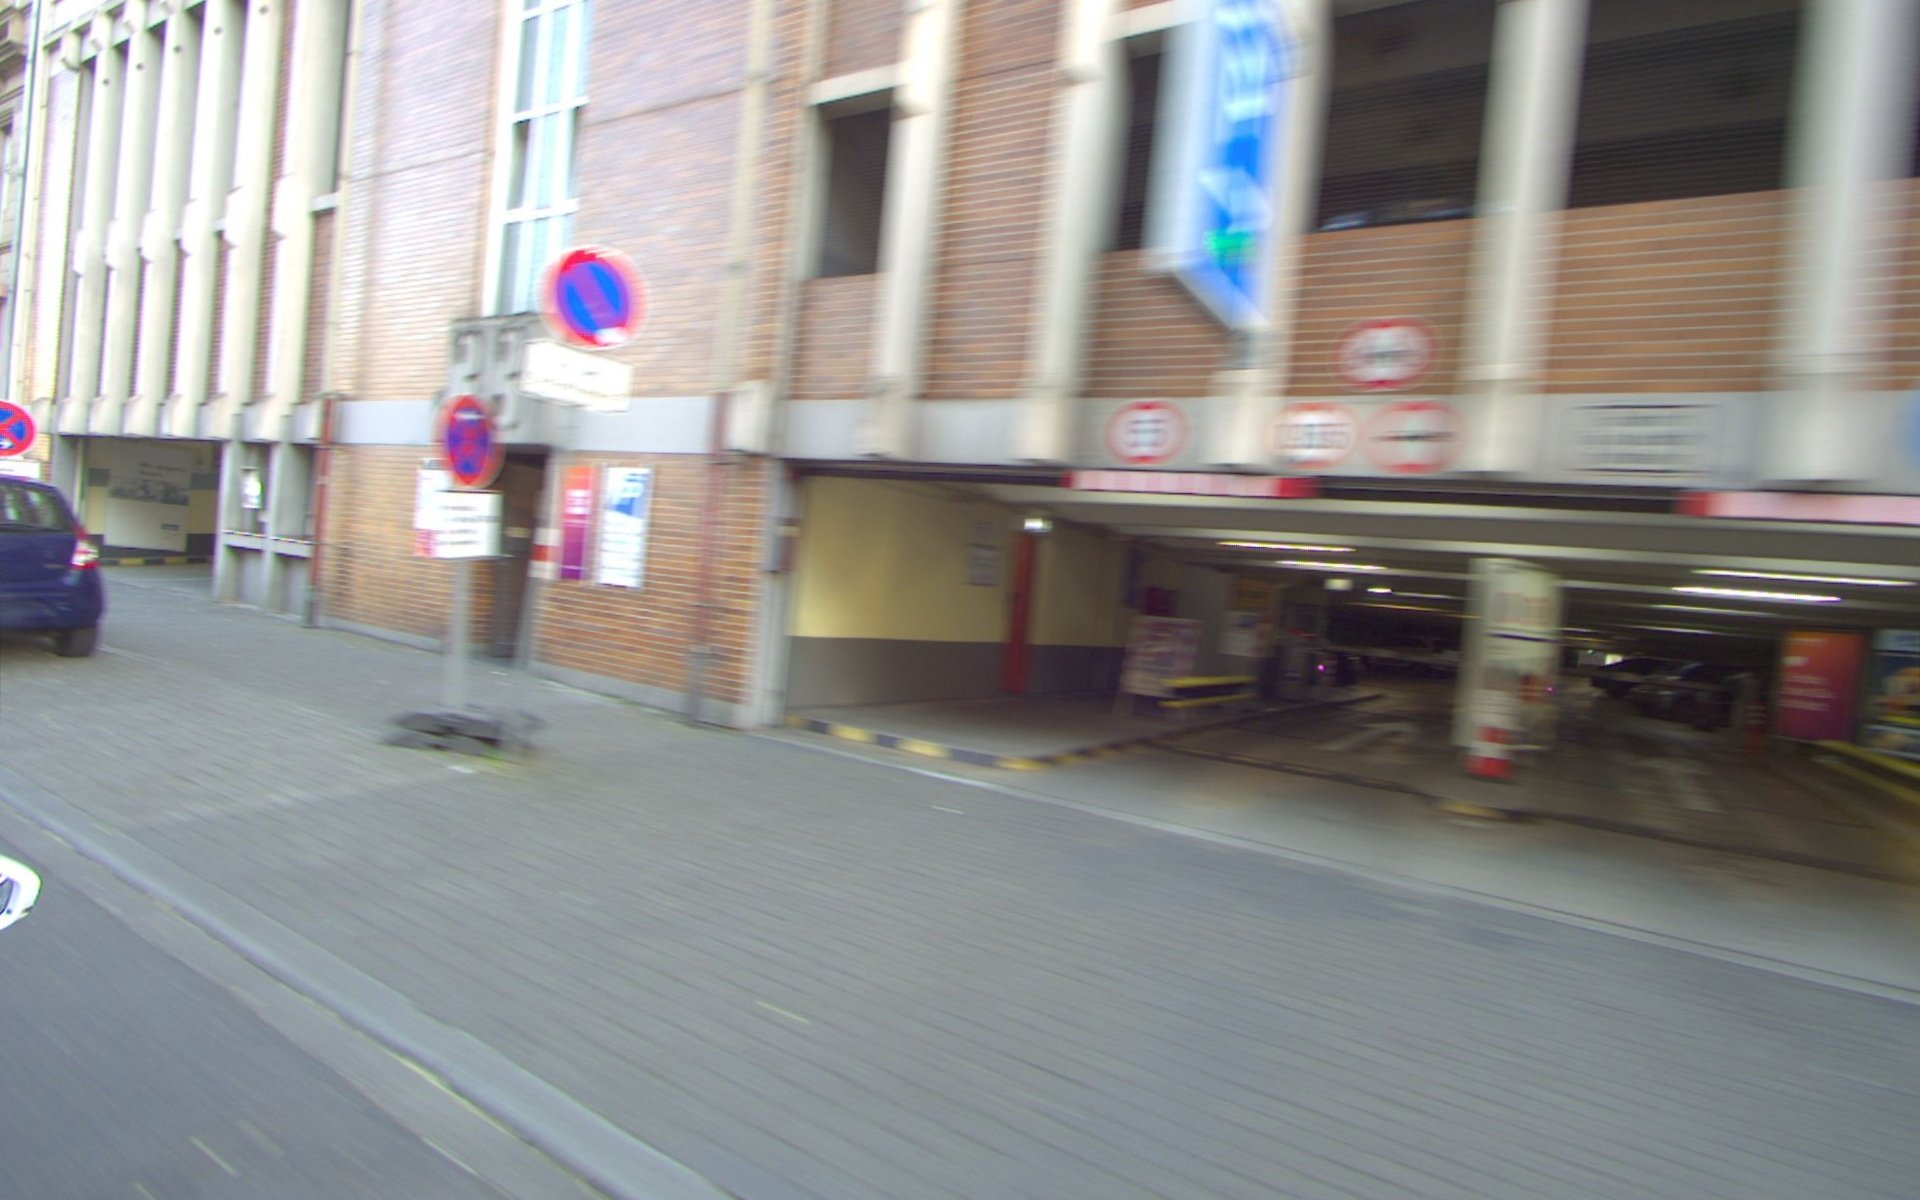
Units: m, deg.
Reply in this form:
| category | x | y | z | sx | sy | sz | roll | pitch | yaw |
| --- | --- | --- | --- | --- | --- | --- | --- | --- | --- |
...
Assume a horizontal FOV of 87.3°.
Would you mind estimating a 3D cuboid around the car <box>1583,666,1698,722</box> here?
| category | x | y | z | sx | sy | sz | roll | pitch | yaw |
| --- | --- | --- | --- | --- | --- | --- | --- | --- | --- |
| car | 23.906 | 3.306 | 35.345 | 3.244 | 1.465 | 1.665 | 8 | -2 | -20 |

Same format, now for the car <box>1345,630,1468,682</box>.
| category | x | y | z | sx | sy | sz | roll | pitch | yaw |
| --- | --- | --- | --- | --- | --- | --- | --- | --- | --- |
| car | 17.191 | 2.138 | 38.860 | 1.657 | 1.465 | 3.964 | 8 | -2 | -34 |

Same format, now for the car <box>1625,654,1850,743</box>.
| category | x | y | z | sx | sy | sz | roll | pitch | yaw |
| --- | --- | --- | --- | --- | --- | --- | --- | --- | --- |
| car | 18.039 | 2.275 | 23.580 | 3.938 | 1.465 | 1.668 | 6 | -2 | 36 |

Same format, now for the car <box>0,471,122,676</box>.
| category | x | y | z | sx | sy | sz | roll | pitch | yaw |
| --- | --- | --- | --- | --- | --- | --- | --- | --- | --- |
| car | -9.000 | -0.383 | 8.600 | 3.935 | 1.558 | 1.757 | 7 | 4 | 33 |
